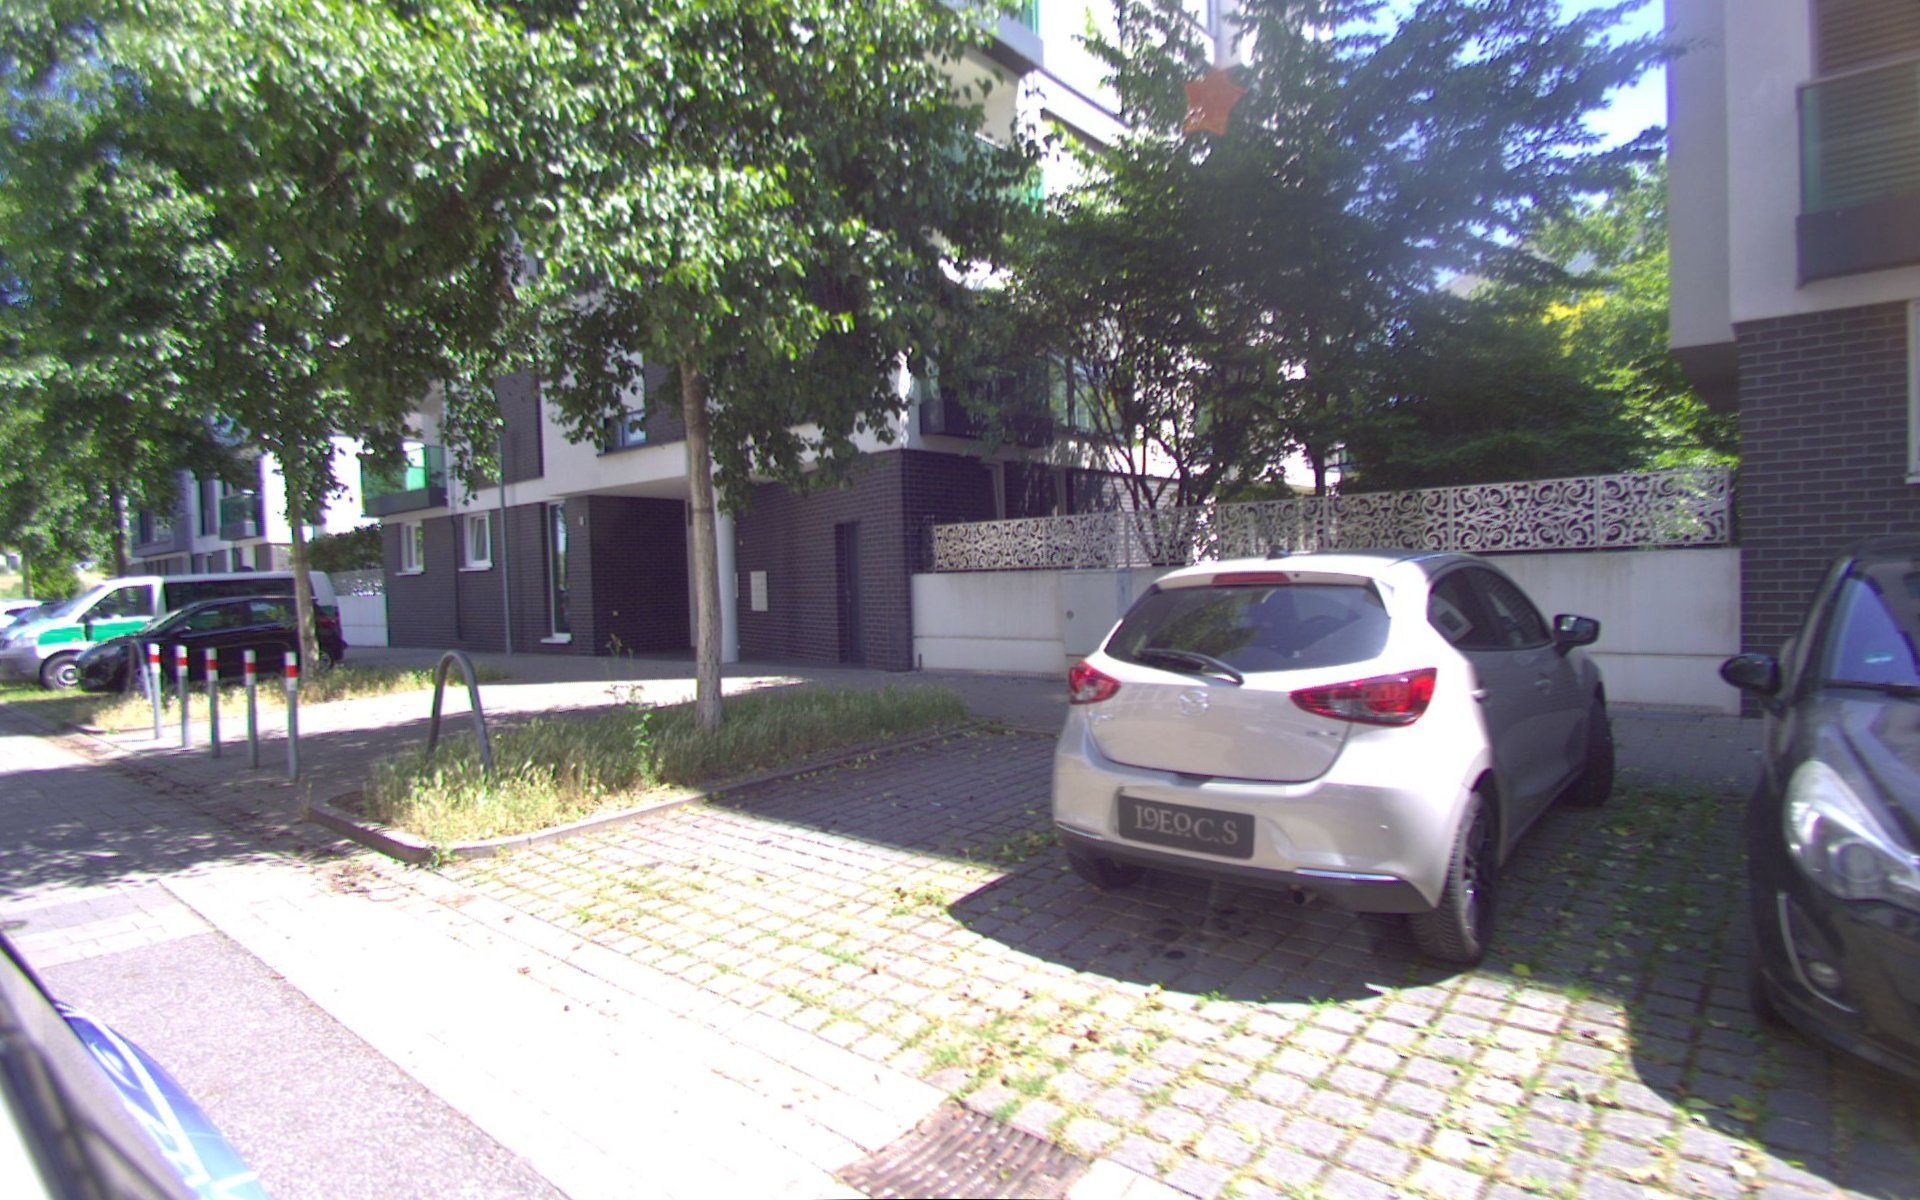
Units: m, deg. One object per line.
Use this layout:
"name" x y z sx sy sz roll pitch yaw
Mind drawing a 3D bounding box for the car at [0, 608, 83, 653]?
"car" -35.778 1.189 37.218 1.925 1.496 5.051 0 3 38

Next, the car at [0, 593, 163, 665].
"car" -24.372 0.762 27.488 1.949 1.641 3.938 -1 3 42

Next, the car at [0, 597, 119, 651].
"car" -31.805 0.838 34.092 2.039 1.644 4.981 -1 2 38

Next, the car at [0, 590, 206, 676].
"car" -20.408 0.713 24.020 1.850 1.688 3.644 -1 3 40

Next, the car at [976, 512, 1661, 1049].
"car" 2.175 0.399 5.162 1.923 1.528 4.211 -1 4 40

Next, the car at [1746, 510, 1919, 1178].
"car" 3.943 0.403 3.467 1.791 1.486 4.274 -1 3 40

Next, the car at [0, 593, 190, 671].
"car" -22.559 0.785 25.558 1.962 1.605 4.520 -1 3 35

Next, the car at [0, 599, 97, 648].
"car" -33.701 0.906 35.586 1.825 1.459 4.774 0 4 38

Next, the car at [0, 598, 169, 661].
"car" -26.093 0.854 29.237 1.828 1.467 4.802 -1 3 40

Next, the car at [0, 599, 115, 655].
"car" -29.861 0.888 32.180 1.819 1.542 4.213 -1 3 37

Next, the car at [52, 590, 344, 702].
"car" -12.744 0.681 17.094 1.676 1.492 3.588 -1 3 40

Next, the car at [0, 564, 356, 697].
"car" -14.726 0.443 19.076 2.187 2.126 5.285 -1 1 42
